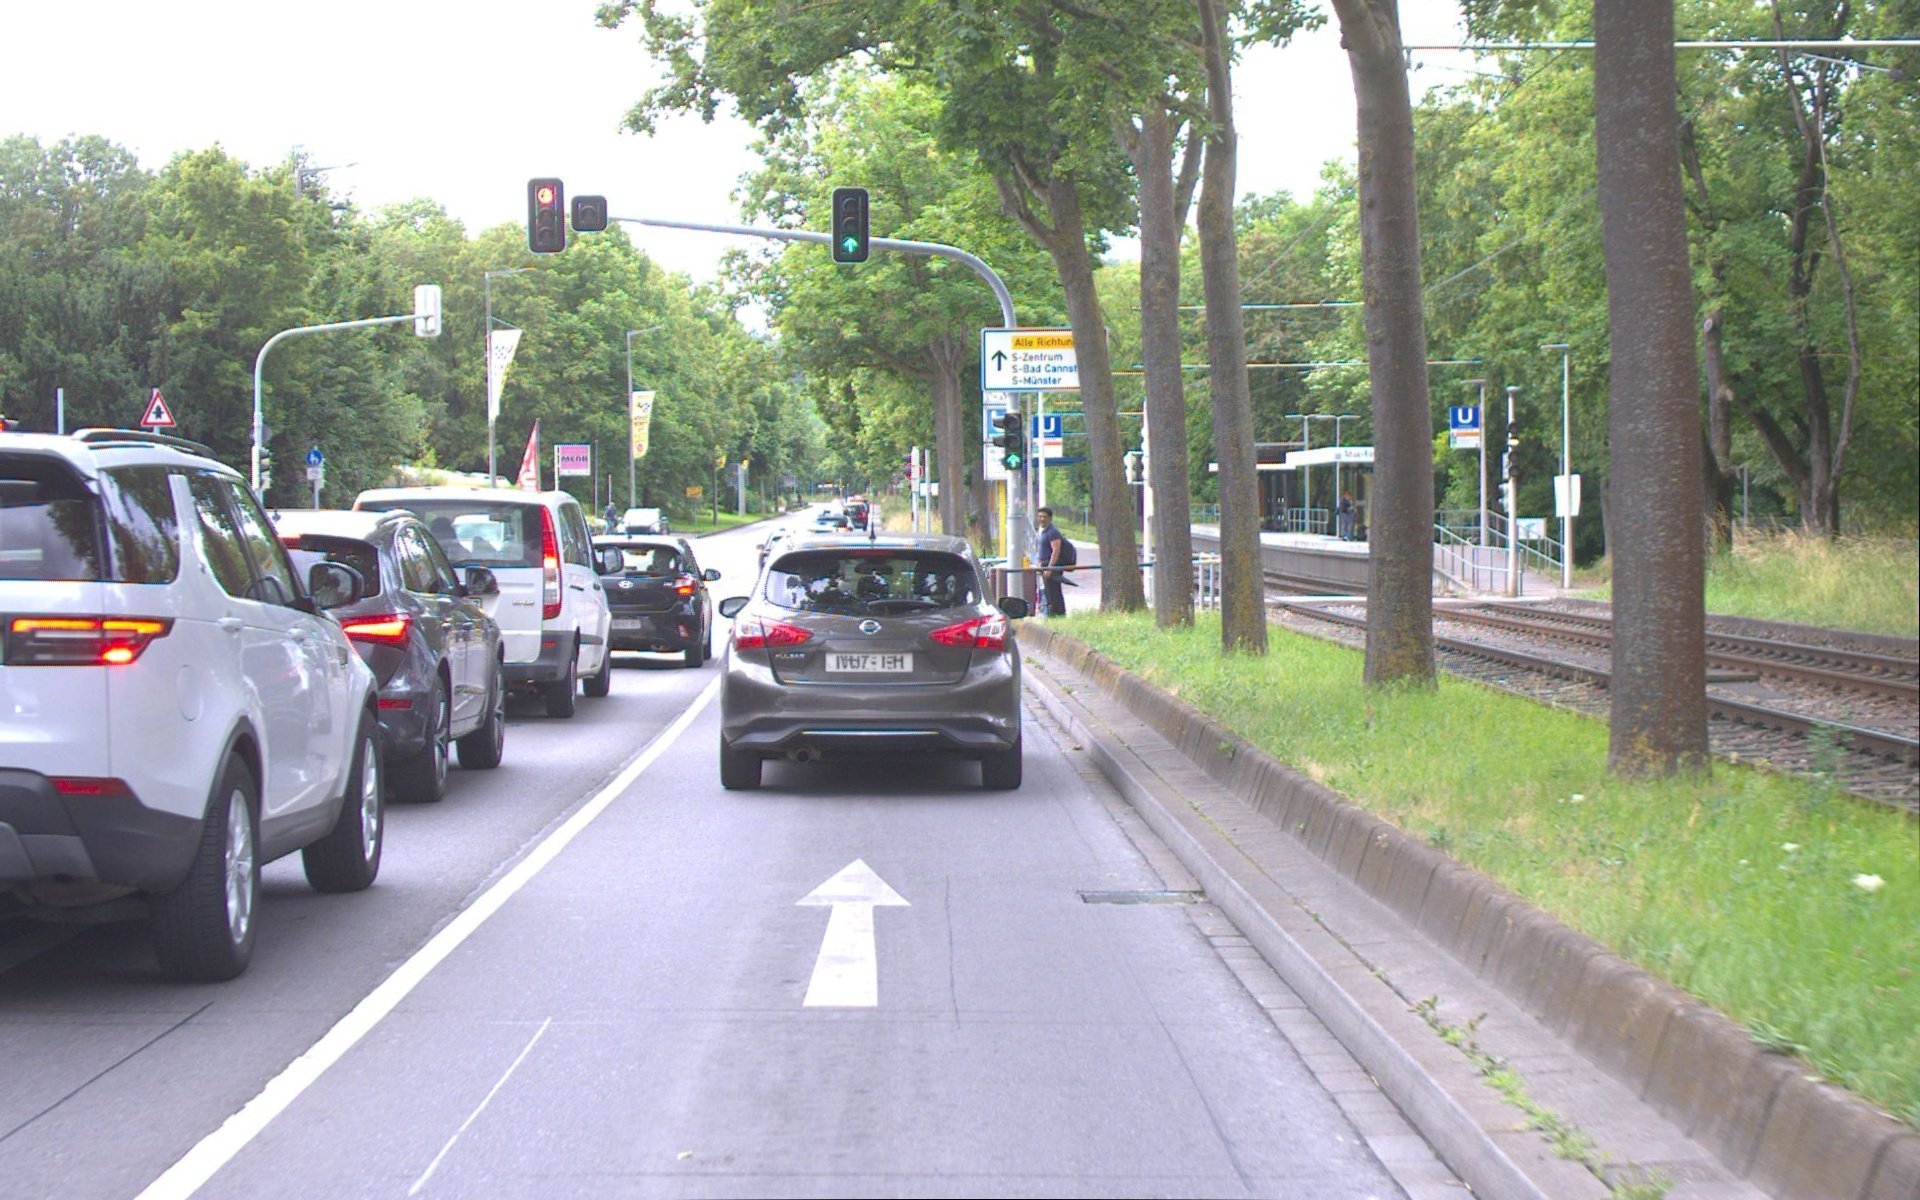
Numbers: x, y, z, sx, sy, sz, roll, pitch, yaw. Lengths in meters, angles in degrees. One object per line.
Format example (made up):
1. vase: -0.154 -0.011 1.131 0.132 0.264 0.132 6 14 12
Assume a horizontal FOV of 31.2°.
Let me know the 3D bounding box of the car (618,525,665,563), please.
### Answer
1. car: -14.191 -2.523 153.459 1.901 1.673 5.081 0 1 -3

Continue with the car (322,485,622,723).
1. car: -4.037 -0.015 29.281 1.907 1.837 5.282 0 1 -1

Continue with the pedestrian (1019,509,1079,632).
1. pedestrian: 1.288 -0.427 49.564 0.752 1.731 0.839 -3 1 4

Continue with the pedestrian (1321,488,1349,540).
1. pedestrian: 11.028 -2.528 101.034 0.718 1.506 0.724 1 0 2

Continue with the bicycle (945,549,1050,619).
1. bicycle: 0.635 -0.274 58.340 1.674 1.086 0.602 -3 1 -5

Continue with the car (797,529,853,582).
1. car: -4.046 -1.348 103.396 1.503 1.523 3.671 1 1 1

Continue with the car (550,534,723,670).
1. car: -3.659 -0.012 39.350 1.703 1.475 3.668 0 1 -1

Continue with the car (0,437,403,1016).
1. car: -3.343 0.361 12.920 1.803 1.789 4.503 1 1 -1

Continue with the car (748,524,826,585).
1. car: -4.311 -1.140 86.168 1.710 1.470 3.671 1 1 1

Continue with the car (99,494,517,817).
1. car: -3.776 0.274 20.623 1.751 1.712 4.334 -1 1 -1

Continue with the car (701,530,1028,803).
1. car: -0.519 0.339 21.368 1.837 1.523 3.929 1 1 1
